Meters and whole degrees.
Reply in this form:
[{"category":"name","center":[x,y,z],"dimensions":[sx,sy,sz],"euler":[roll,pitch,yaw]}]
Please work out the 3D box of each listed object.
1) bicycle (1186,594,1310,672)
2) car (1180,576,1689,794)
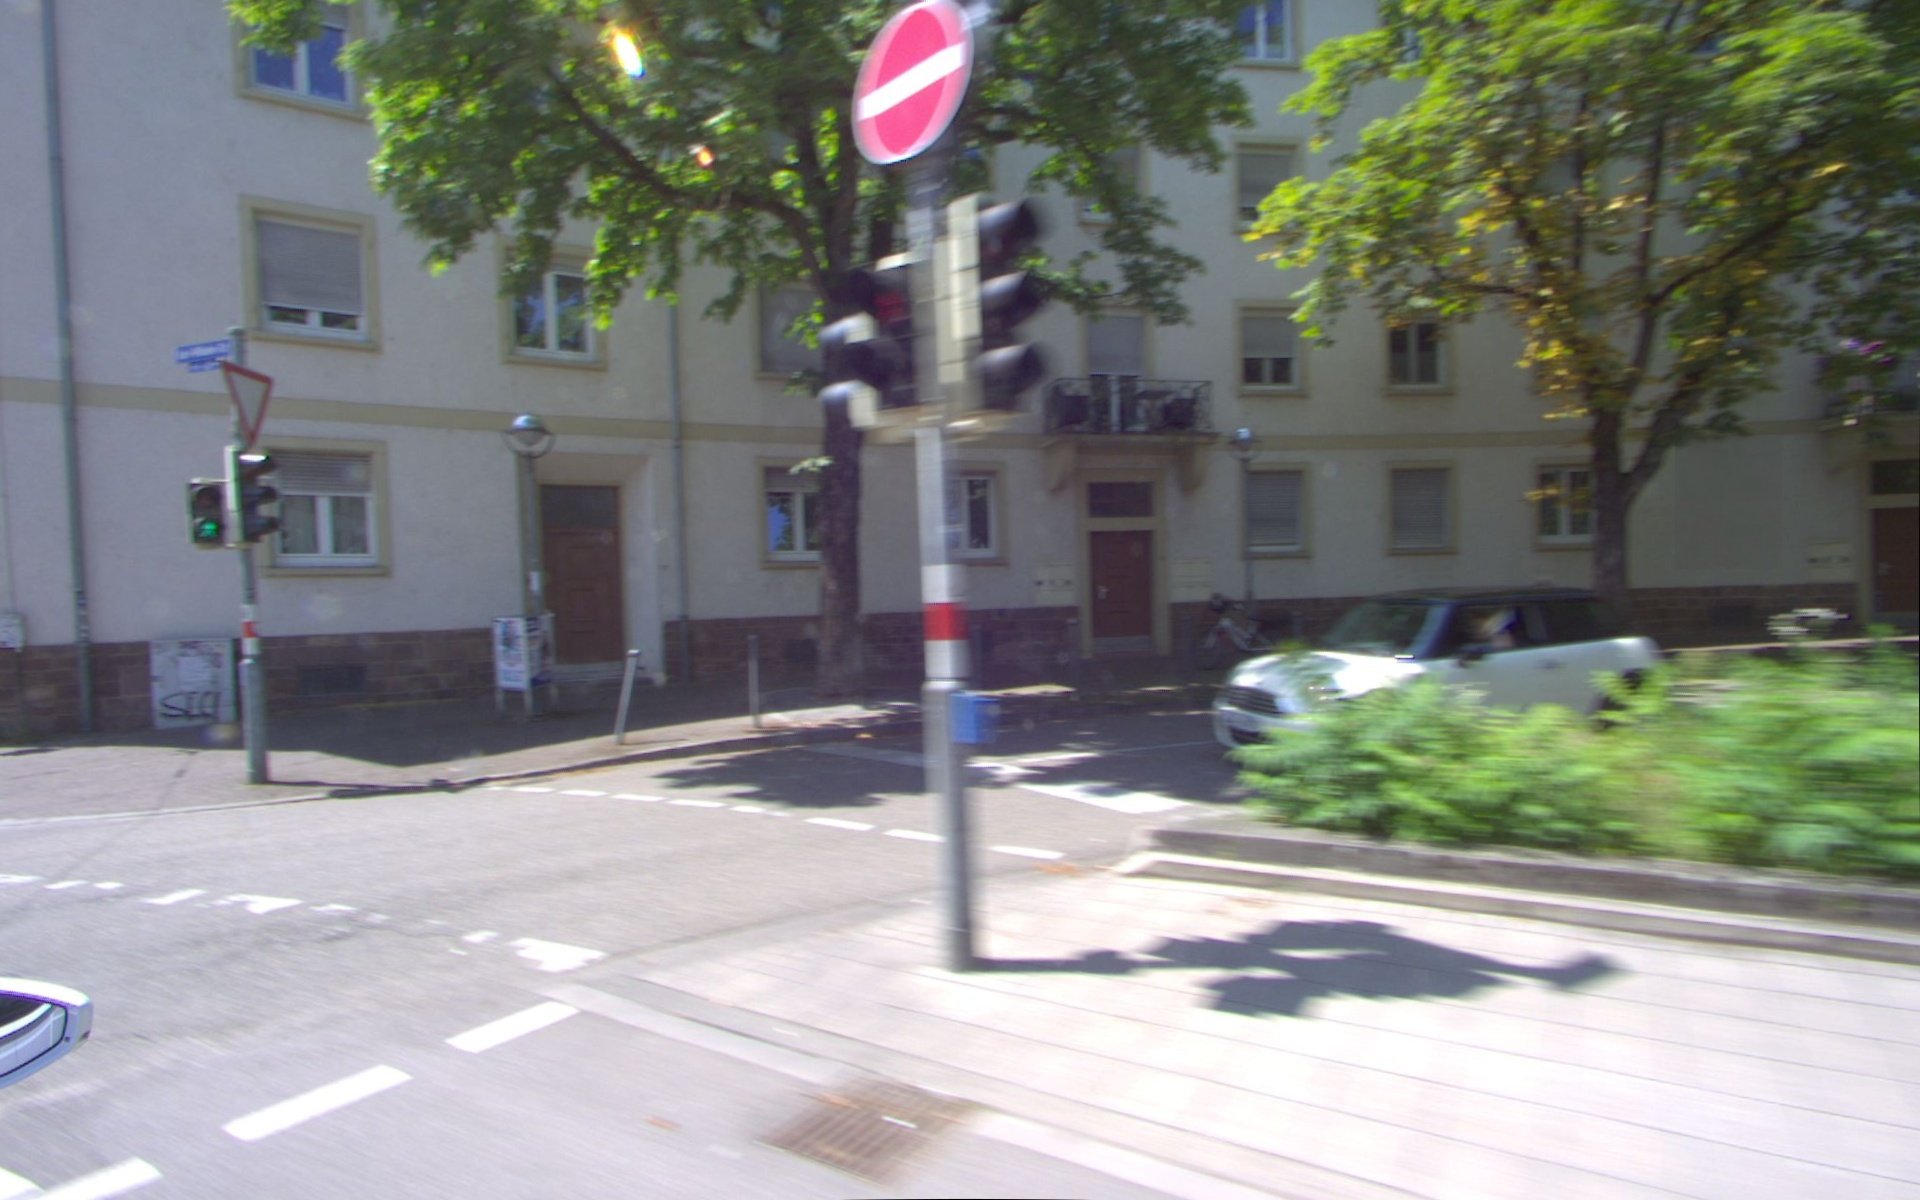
[{"category":"bicycle","center":[4.601,0.512,16.050],"dimensions":[1.769,1.170,0.640],"euler":[-2,1,-2]},{"category":"car","center":[3.865,0.597,8.352],"dimensions":[3.560,1.465,1.693],"euler":[-2,0,-14]}]
